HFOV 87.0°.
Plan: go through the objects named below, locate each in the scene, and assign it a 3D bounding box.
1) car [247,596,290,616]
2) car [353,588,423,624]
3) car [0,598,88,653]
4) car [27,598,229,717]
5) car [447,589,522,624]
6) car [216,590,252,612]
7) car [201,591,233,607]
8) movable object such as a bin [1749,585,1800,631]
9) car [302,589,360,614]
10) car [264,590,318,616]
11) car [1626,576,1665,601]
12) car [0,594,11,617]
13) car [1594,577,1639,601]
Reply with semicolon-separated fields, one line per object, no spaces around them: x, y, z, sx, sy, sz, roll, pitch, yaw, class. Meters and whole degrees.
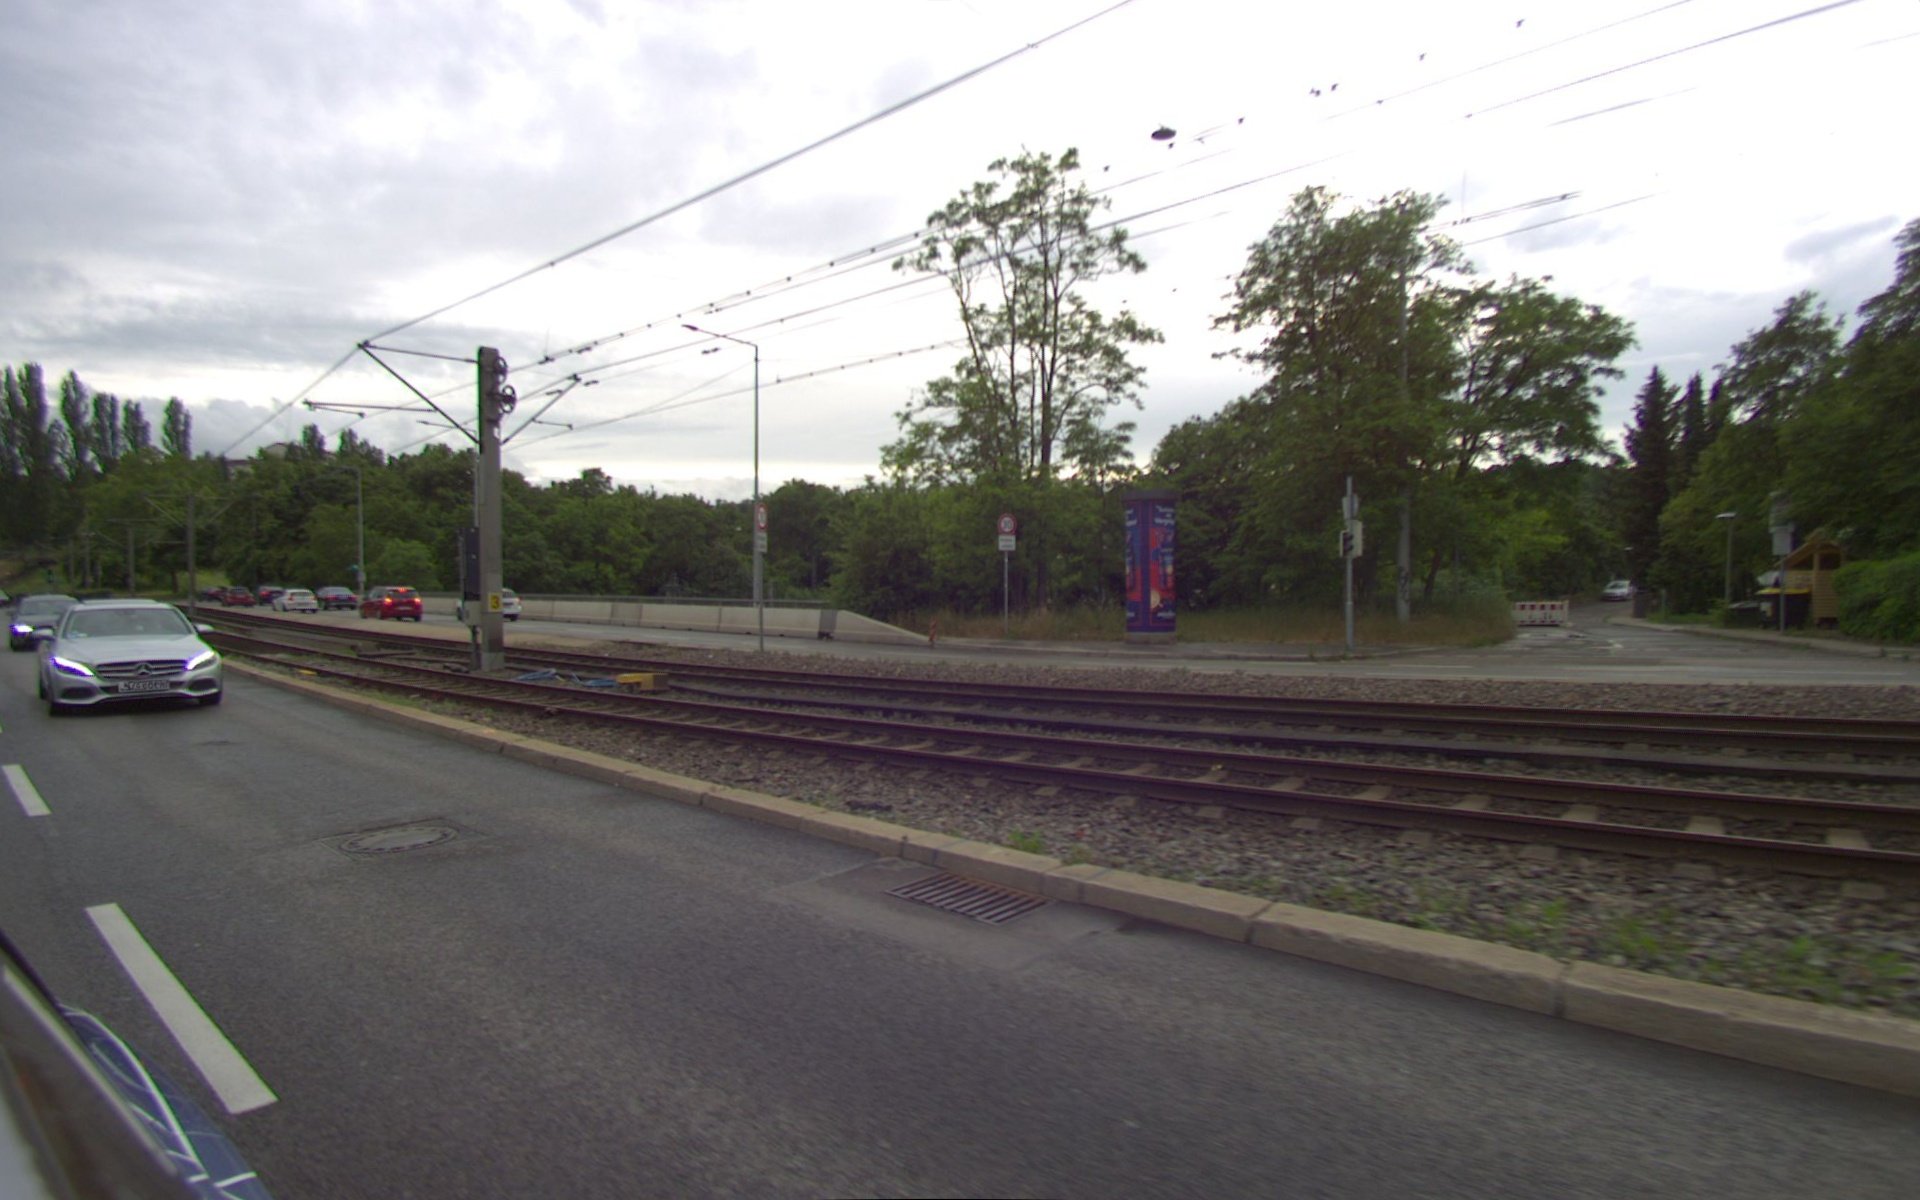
-56.239;0.488;82.242;4.732;1.609;1.876;0;0;43;car
-27.045;0.262;47.764;1.826;1.609;4.737;0;0;-43;car
-25.637;0.651;28.267;1.711;1.362;4.004;-2;2;-44;car
-11.815;0.704;14.272;1.845;1.366;4.063;-3;2;-44;car
-22.345;0.251;47.477;1.800;1.526;4.533;-1;2;-44;car
-53.928;0.077;75.174;3.018;1.504;1.583;2;2;43;car
-70.258;-0.102;95.700;1.795;1.447;4.745;-2;1;-44;car
26.622;0.247;33.099;0.668;1.437;1.286;0;3;5;movable object such as a bin
-41.928;0.084;67.408;5.184;1.609;1.948;0;0;43;car
-40.538;0.178;61.248;4.492;1.447;1.711;2;1;43;car
56.703;-0.930;83.702;3.940;1.830;1.882;1;-3;-44;car
-78.646;0.456;82.146;3.994;1.830;1.747;-1;2;38;car
50.498;-0.855;77.836;3.940;1.765;2.001;0;-1;-44;car
